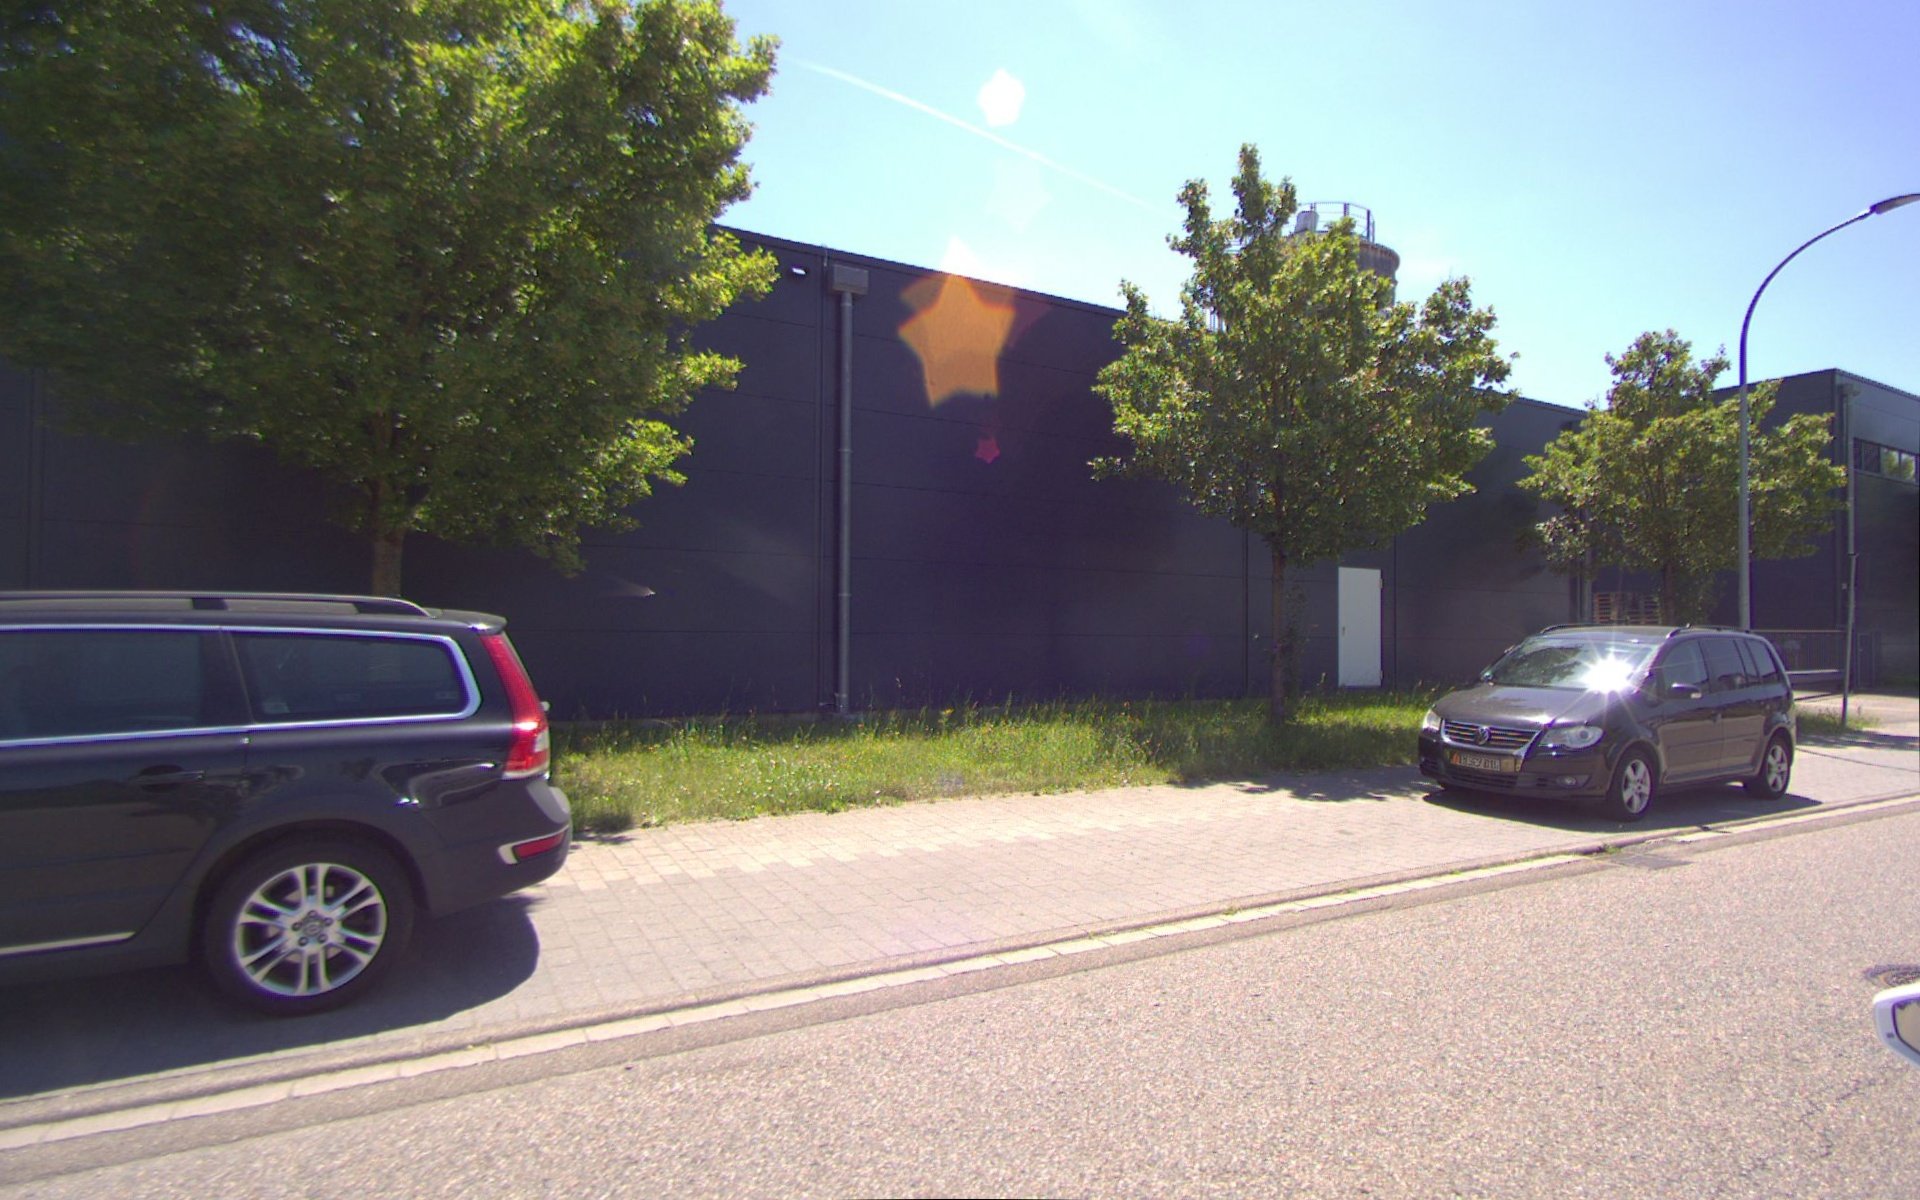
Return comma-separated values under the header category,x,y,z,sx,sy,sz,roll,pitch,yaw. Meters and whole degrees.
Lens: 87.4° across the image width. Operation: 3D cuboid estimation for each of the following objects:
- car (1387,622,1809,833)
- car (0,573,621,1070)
category,x,y,z,sx,sy,sz,roll,pitch,yaw
car,6.212,1.063,9.669,4.199,1.633,1.762,2,-1,-31
car,-3.967,0.729,3.848,4.797,1.633,1.762,2,-1,-31
